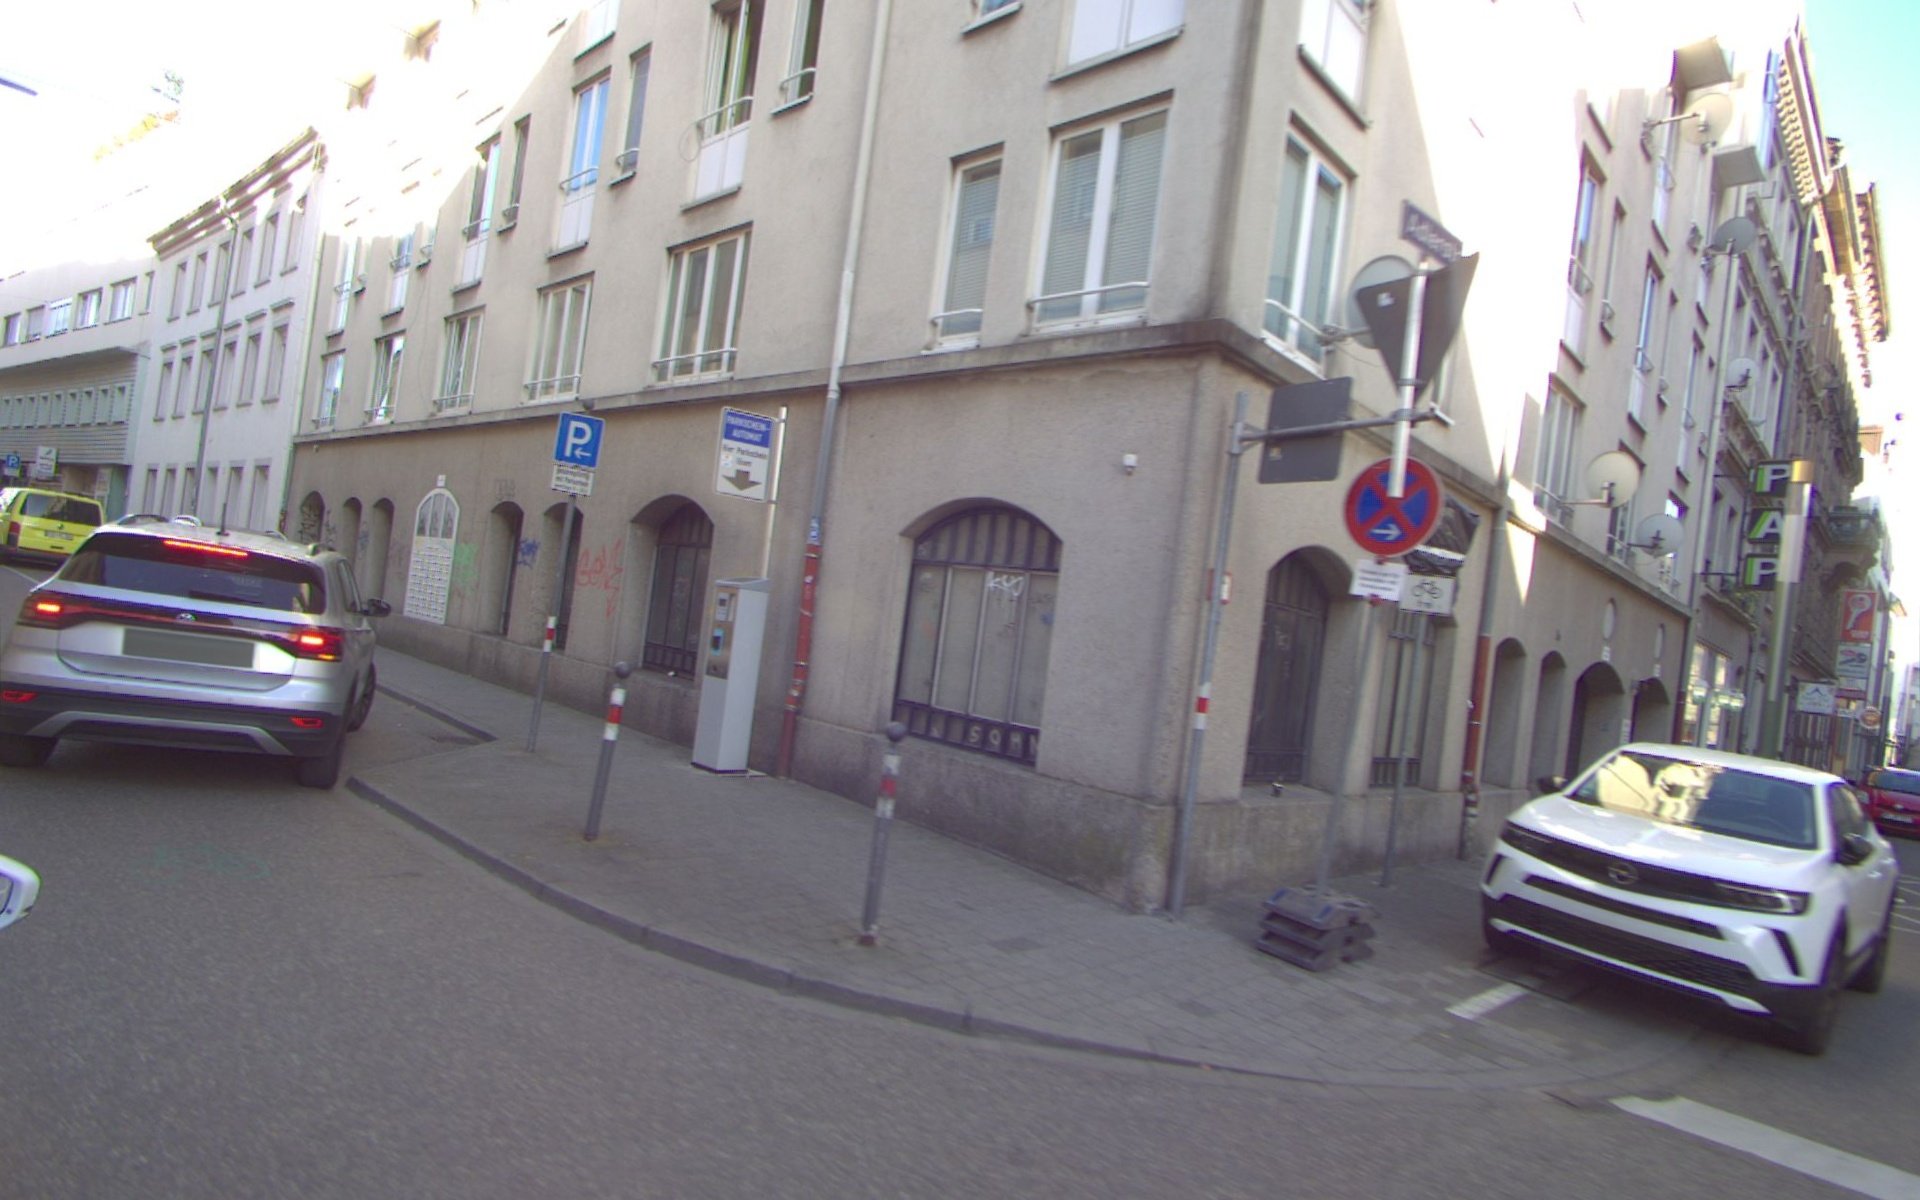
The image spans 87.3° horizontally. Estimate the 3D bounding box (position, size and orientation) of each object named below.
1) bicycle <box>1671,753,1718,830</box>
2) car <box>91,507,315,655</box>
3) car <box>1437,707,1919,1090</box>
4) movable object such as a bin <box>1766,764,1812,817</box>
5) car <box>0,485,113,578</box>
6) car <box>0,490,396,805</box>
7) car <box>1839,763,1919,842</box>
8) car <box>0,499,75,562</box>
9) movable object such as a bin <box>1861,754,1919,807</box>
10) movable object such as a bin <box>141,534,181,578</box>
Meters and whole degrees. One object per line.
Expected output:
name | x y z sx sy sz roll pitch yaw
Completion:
bicycle | 12.312 3.172 16.844 0.426 1.157 1.585 7 -1 40
car | -11.283 -0.346 14.865 4.434 1.674 1.822 6 -2 44
car | 5.059 1.740 6.827 4.056 1.586 1.747 9 -2 -42
movable object such as a bin | 19.681 4.521 23.891 0.681 1.088 0.447 10 2 44
car | -23.414 -1.792 25.557 4.775 1.904 1.883 6 -2 39
car | -5.329 0.252 7.334 1.810 1.577 3.960 8 -2 -27
car | 22.310 4.787 23.680 3.779 1.495 1.895 9 -2 -42
car | -27.374 -2.109 28.981 4.301 1.506 1.884 6 -2 37
movable object such as a bin | 28.393 5.491 30.676 1.987 1.407 1.040 9 -1 -42
movable object such as a bin | -20.598 -1.127 25.947 0.697 1.066 0.625 6 4 34
